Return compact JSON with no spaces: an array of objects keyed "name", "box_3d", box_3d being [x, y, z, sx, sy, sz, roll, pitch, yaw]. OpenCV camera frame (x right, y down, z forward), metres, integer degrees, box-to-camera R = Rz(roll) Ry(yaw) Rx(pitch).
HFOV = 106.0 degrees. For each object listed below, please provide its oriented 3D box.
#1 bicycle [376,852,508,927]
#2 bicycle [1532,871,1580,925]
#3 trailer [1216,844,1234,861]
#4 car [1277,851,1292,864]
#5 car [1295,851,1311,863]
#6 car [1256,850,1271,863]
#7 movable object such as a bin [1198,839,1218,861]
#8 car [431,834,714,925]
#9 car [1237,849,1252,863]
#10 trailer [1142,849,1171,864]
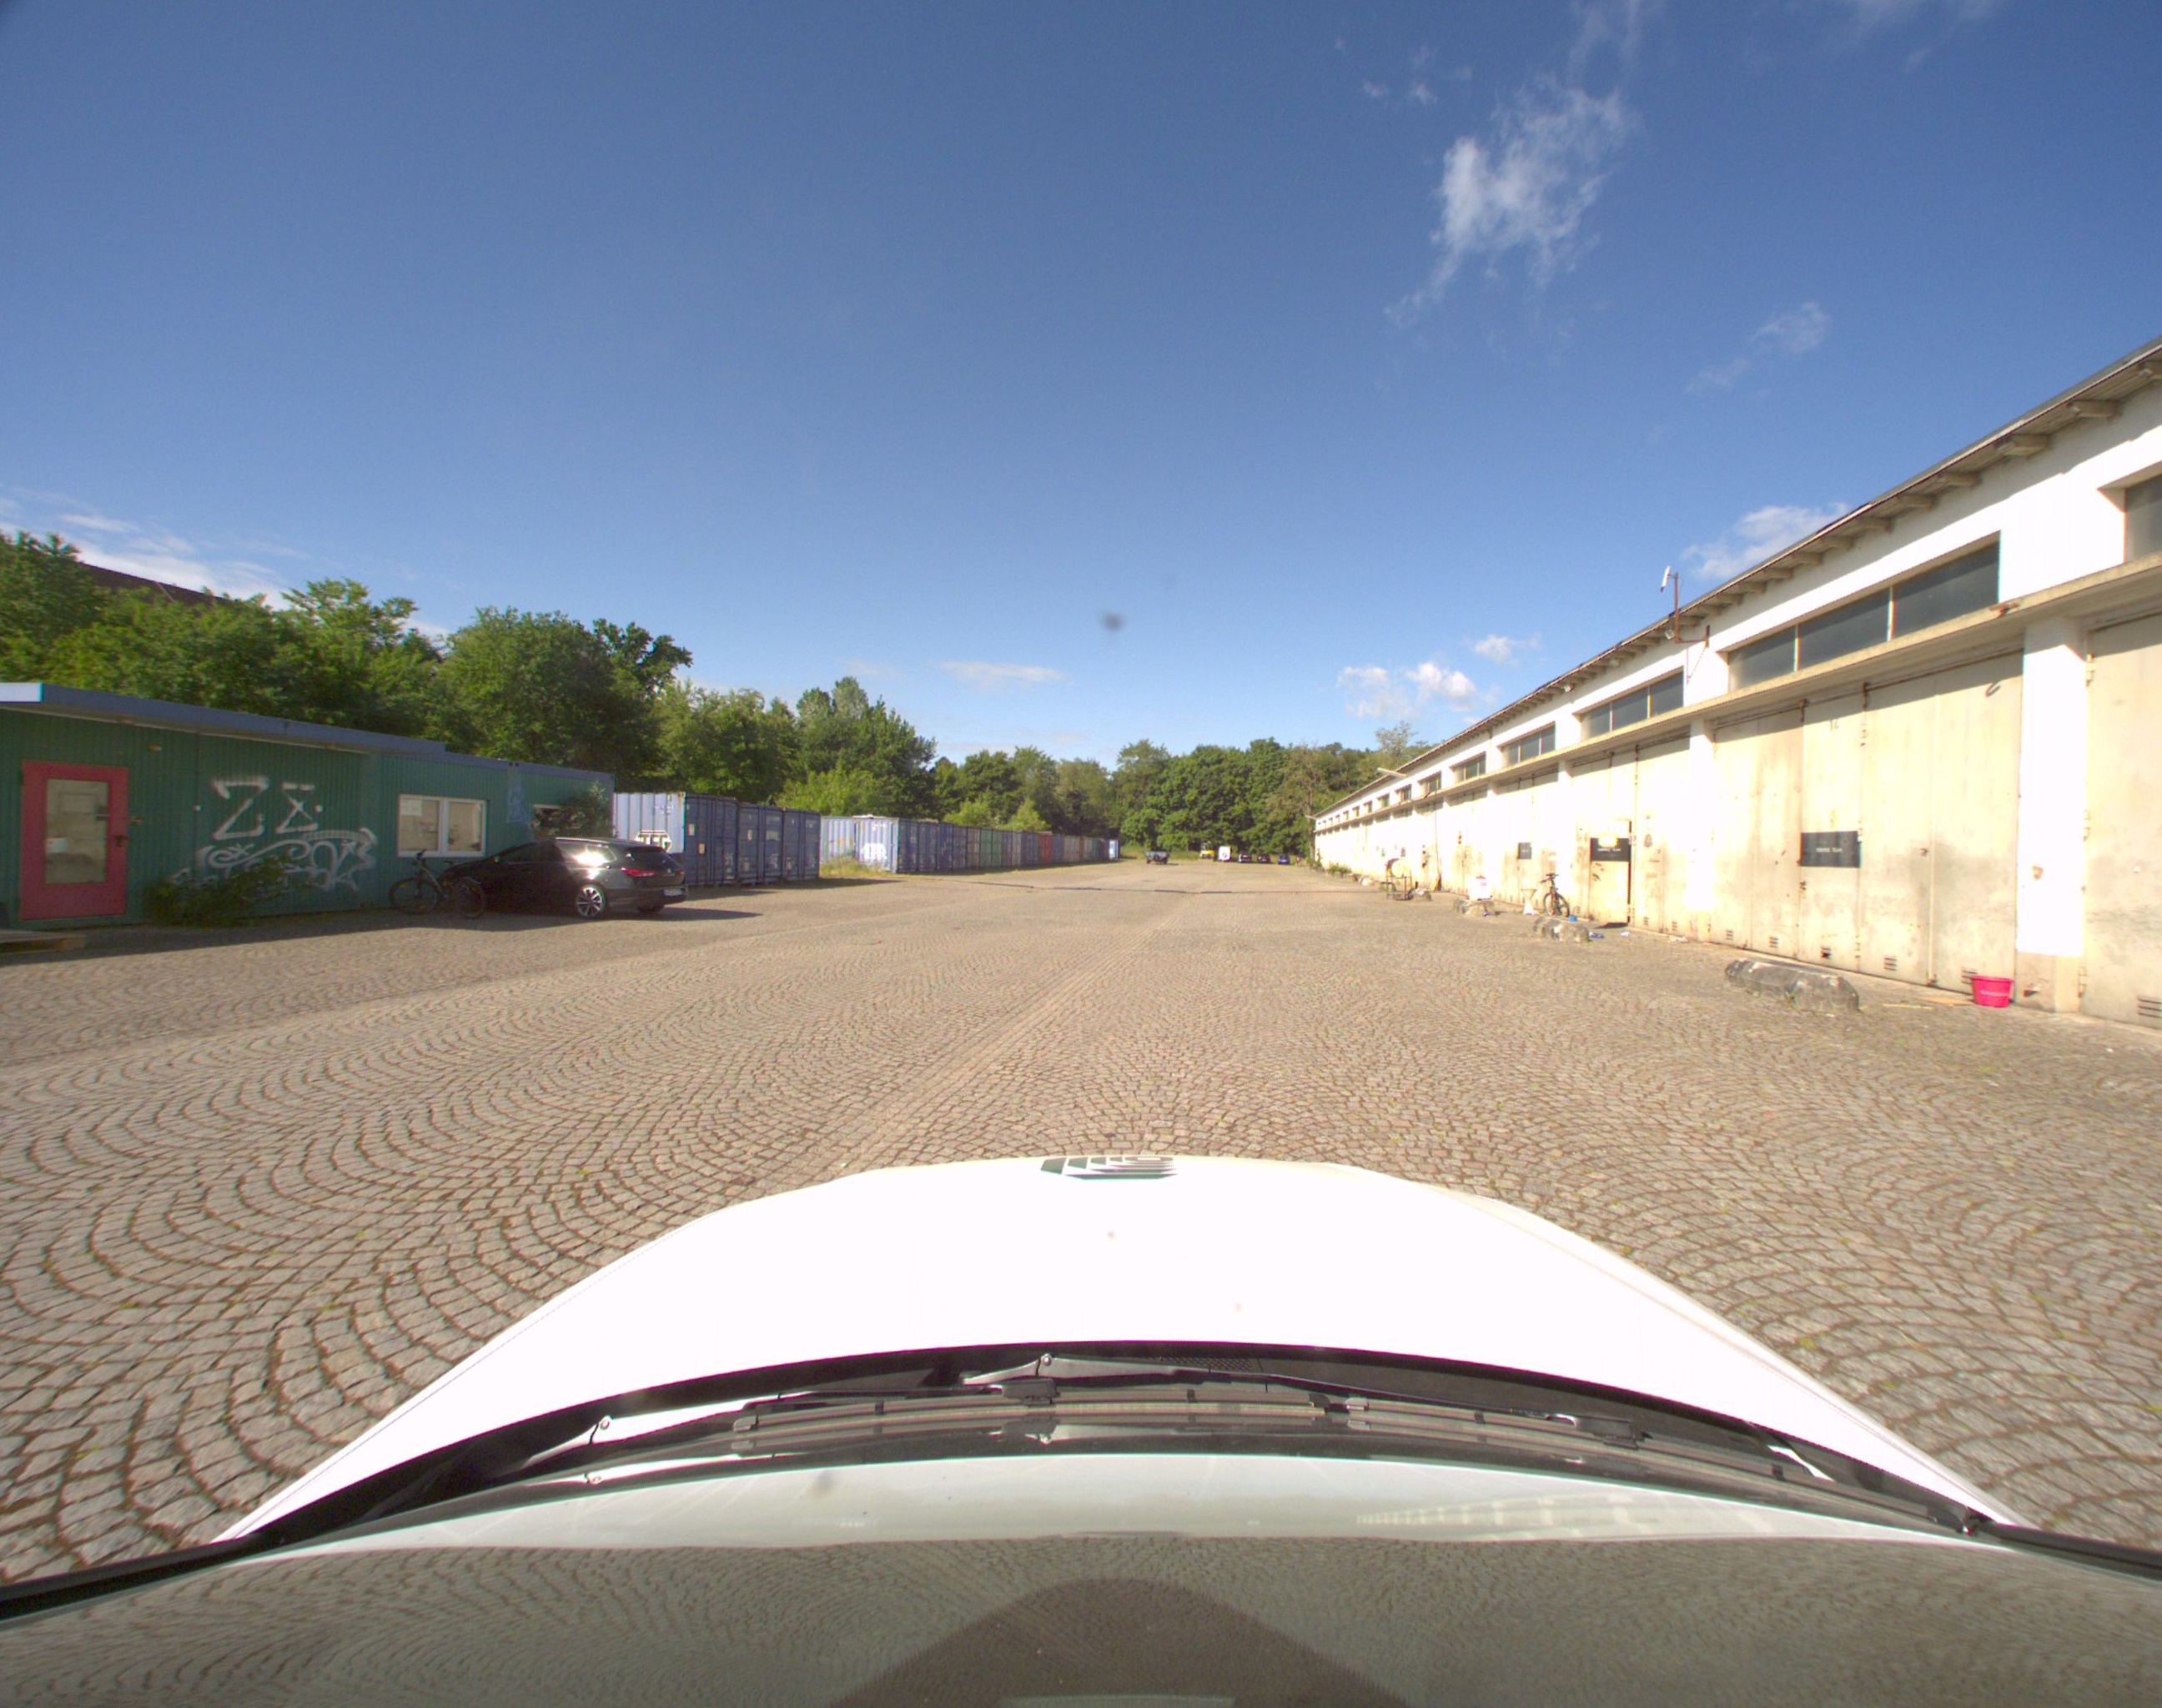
[{"name":"bicycle","box_3d":[-10.825,0.590,13.808,1.793,1.170,0.670,2,0,8]},{"name":"bicycle","box_3d":[10.361,0.930,17.809,0.659,1.068,1.834,2,0,23]},{"name":"trailer","box_3d":[19.791,-0.240,111.957,2.179,2.094,5.770,2,2,11]},{"name":"car","box_3d":[27.127,0.434,108.404,1.731,1.436,4.202,3,2,17]},{"name":"car","box_3d":[29.804,0.425,109.319,1.730,1.436,4.203,3,2,18]},{"name":"car","box_3d":[24.442,0.321,108.992,1.852,1.470,4.310,2,2,11]},{"name":"movable object such as a bin","box_3d":[17.593,-0.573,112.995,2.291,2.896,5.771,2,2,12]},{"name":"car","box_3d":[-9.520,0.444,15.424,4.226,1.449,1.936,2,0,9]},{"name":"car","box_3d":[21.940,0.237,109.107,1.852,1.589,4.310,2,2,11]},{"name":"trailer","box_3d":[8.701,0.243,93.590,2.689,1.465,6.266,2,2,10]}]
